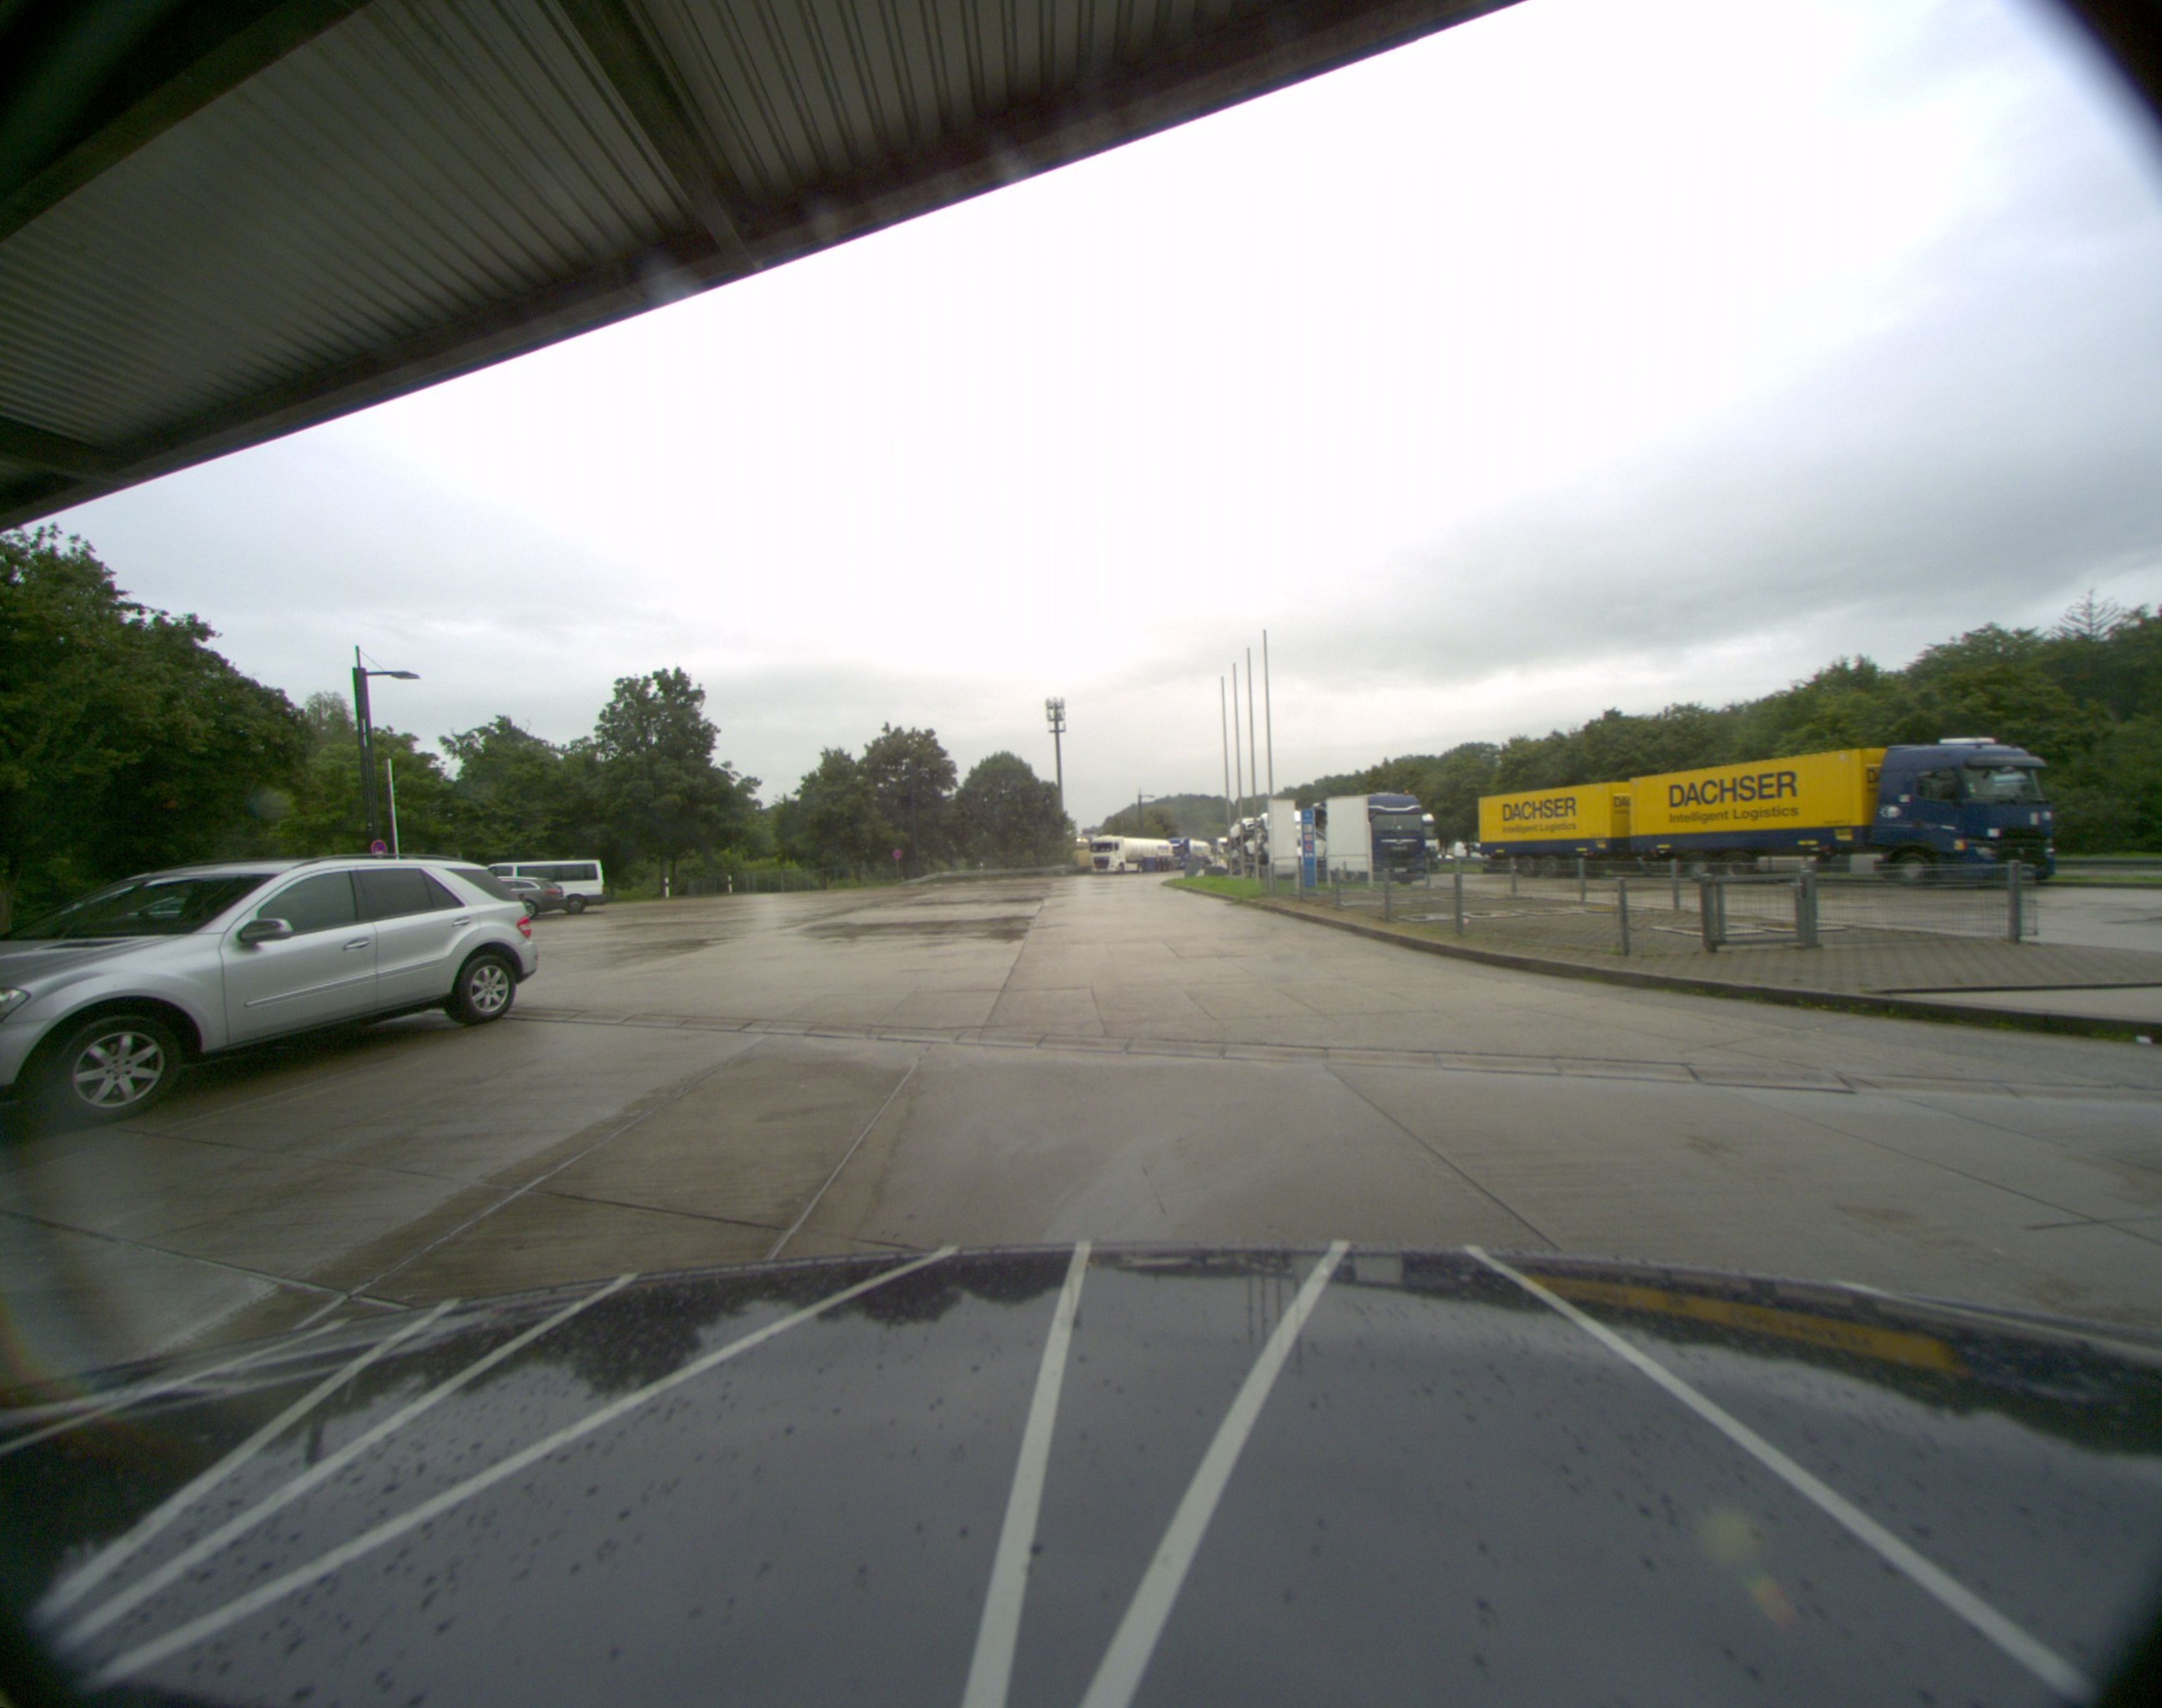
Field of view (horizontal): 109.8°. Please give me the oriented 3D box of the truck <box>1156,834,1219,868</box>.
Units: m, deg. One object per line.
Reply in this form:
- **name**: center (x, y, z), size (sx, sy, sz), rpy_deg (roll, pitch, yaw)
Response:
- **truck**: center (12.784, -0.404, 89.680), size (3.506, 3.584, 14.685), rpy_deg (-2, 0, 23)

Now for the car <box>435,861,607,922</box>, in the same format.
- **car**: center (-20.425, 1.293, 27.986), size (4.898, 1.938, 2.310), rpy_deg (-2, 0, -35)

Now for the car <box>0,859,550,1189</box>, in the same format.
- **car**: center (-7.042, 1.008, 6.371), size (1.866, 1.788, 4.539), rpy_deg (-2, 1, 1)

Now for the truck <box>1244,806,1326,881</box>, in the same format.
- **truck**: center (11.048, -0.557, 41.578), size (2.665, 3.750, 4.747), rpy_deg (-2, 1, -6)

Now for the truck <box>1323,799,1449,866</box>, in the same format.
- **truck**: center (19.885, -1.299, 50.559), size (2.757, 3.894, 10.678), rpy_deg (-2, 1, -8)

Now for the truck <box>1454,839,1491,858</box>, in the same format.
- **truck**: center (49.322, -0.695, 95.836), size (1.730, 2.252, 4.633), rpy_deg (-2, 1, -10)

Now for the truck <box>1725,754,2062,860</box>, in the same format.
- **truck**: center (33.912, -1.762, 32.703), size (2.421, 3.785, 10.223), rpy_deg (-2, 1, -10)

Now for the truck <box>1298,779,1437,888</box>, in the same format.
- **truck**: center (12.185, -0.795, 33.171), size (2.665, 4.157, 7.103), rpy_deg (-2, 0, -6)

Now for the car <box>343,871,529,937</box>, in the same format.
- **car**: center (-18.874, 1.399, 22.498), size (4.007, 1.650, 1.596), rpy_deg (-2, 0, -35)

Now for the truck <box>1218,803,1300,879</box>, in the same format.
- **truck**: center (10.572, -0.726, 45.769), size (2.665, 4.157, 6.618), rpy_deg (-2, 1, -6)

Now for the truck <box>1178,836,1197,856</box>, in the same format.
- **truck**: center (23.872, -1.833, 171.018), size (3.143, 4.105, 11.523), rpy_deg (-2, 1, 3)

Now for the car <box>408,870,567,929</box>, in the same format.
- **car**: center (-19.470, 1.432, 25.150), size (4.007, 1.650, 1.596), rpy_deg (-2, 0, -35)

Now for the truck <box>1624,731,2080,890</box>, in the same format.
- **truck**: center (23.155, -1.128, 24.317), size (2.757, 3.894, 10.678), rpy_deg (-2, 1, -8)

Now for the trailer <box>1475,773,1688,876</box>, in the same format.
- **trailer**: center (21.793, -1.184, 33.938), size (2.757, 3.894, 8.700), rpy_deg (-2, 1, -9)

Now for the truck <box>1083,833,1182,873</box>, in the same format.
- **truck**: center (5.456, -0.160, 75.199), size (3.505, 3.584, 14.426), rpy_deg (-2, 0, 31)

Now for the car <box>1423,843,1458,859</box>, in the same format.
- **car**: center (45.319, -0.356, 95.971), size (1.730, 1.879, 4.367), rpy_deg (-2, 1, -10)

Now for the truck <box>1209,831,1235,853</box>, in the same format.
- **truck**: center (33.357, -2.798, 180.254), size (3.145, 5.092, 11.515), rpy_deg (-2, 1, -5)
